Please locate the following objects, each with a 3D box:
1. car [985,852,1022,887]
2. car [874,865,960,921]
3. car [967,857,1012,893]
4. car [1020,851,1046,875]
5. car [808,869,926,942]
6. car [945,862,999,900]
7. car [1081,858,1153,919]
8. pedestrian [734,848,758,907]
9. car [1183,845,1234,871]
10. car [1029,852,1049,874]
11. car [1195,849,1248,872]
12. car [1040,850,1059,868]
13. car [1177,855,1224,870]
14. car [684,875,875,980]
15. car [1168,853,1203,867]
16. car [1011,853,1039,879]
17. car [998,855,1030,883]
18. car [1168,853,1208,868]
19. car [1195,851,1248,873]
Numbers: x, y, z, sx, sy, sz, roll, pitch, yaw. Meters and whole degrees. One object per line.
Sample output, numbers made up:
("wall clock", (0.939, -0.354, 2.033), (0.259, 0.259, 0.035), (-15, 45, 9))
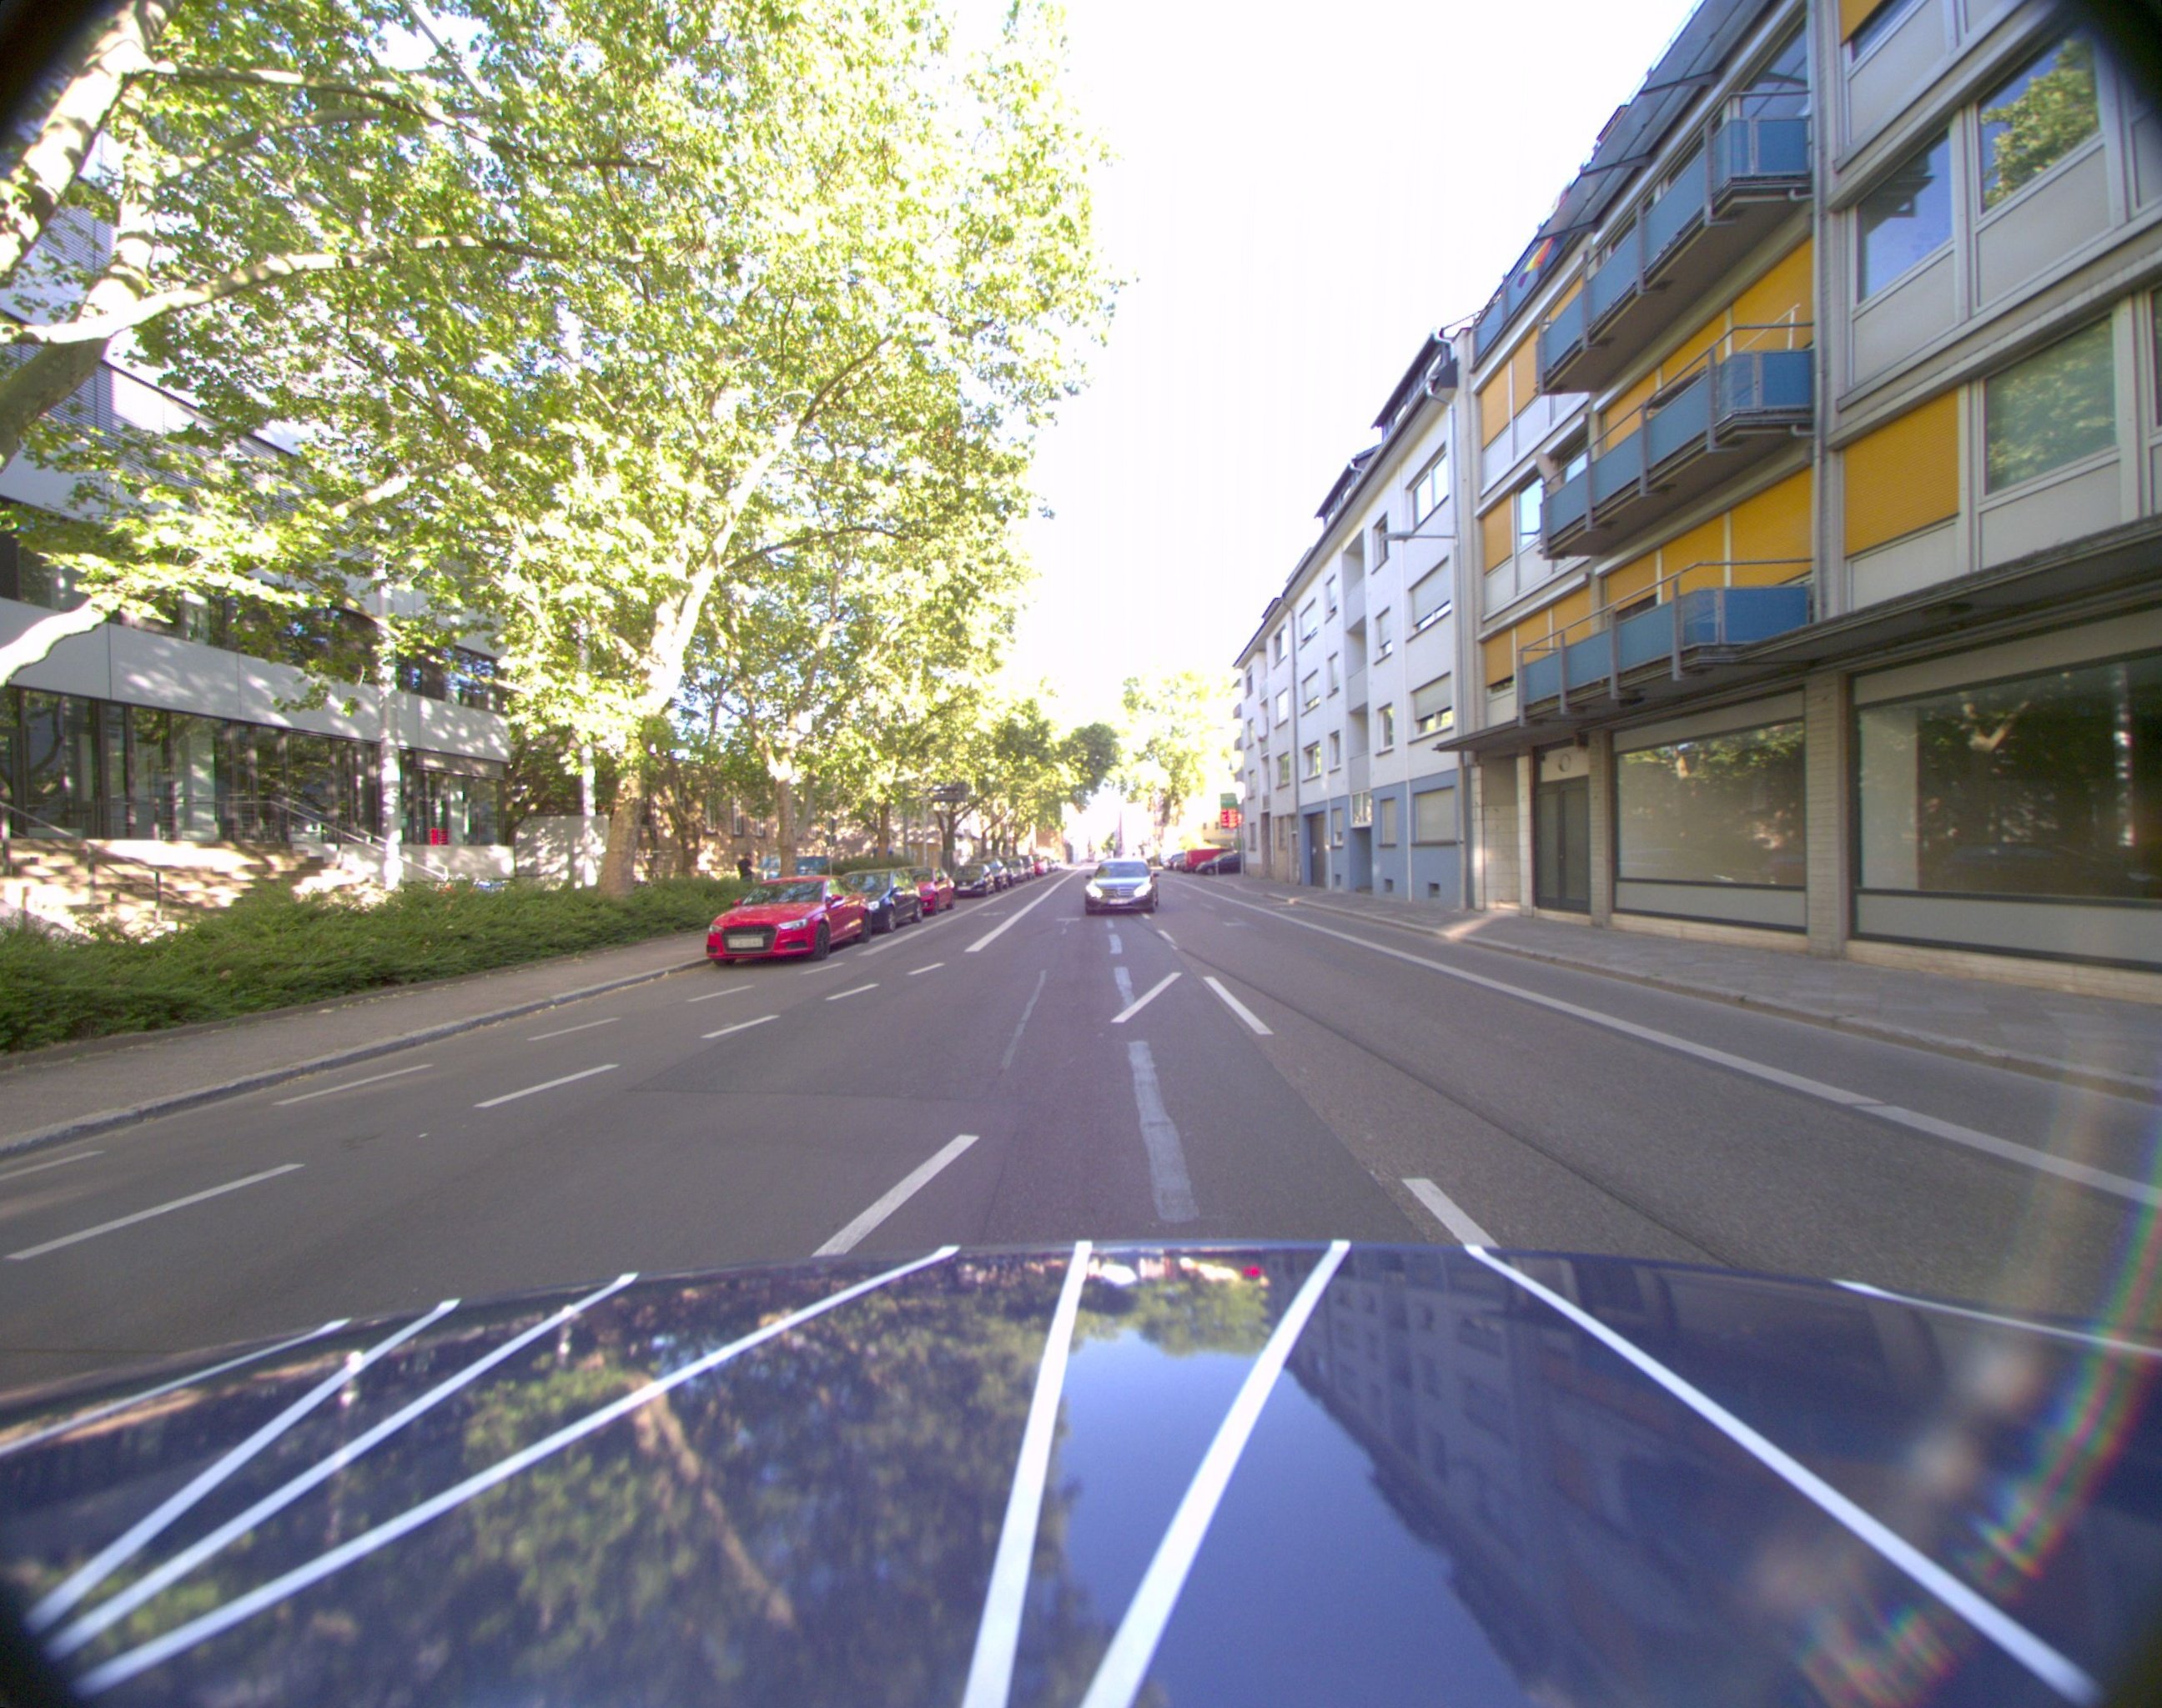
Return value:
("car", (-4.453, 0.854, 44.233), (1.634, 1.781, 4.576), (-2, 1, 0))
("car", (-5.011, 1.134, 23.677), (1.692, 1.441, 3.923), (-2, 1, 1))
("car", (-4.516, 0.993, 38.100), (1.634, 1.569, 4.231), (-2, 1, 0))
("car", (-4.168, 0.722, 66.084), (1.915, 1.940, 3.769), (-2, 1, 0))
("car", (-5.048, 1.164, 18.404), (1.669, 1.410, 3.697), (-2, 1, 1))
("car", (-4.691, 1.112, 33.229), (1.692, 1.414, 3.923), (-2, 1, 0))
("car", (0.956, 0.891, 21.421), (1.752, 1.423, 4.266), (-2, 0, 1))
("pedestrian", (-11.630, 0.803, 26.393), (0.552, 2.002, 0.562), (-2, 1, -11))
("car", (10.063, 0.314, 59.935), (3.688, 1.897, 1.490), (-2, -1, -1))
("car", (-3.901, 0.806, 70.996), (1.599, 1.835, 3.769), (-2, 1, 0))
("car", (10.536, 0.478, 57.090), (3.687, 1.503, 1.490), (-2, 1, 2))
("car", (-3.810, 0.587, 91.838), (1.998, 2.002, 4.000), (-2, 0, 1))
("car", (9.814, 0.686, 62.581), (3.687, 1.122, 1.345), (-2, 1, 2))
("car", (-5.159, 1.181, 13.650), (1.794, 1.384, 3.999), (-2, 1, 0))
("car", (10.325, 0.574, 75.459), (3.271, 1.238, 1.345), (-2, 1, 2))
("car", (-4.035, 0.815, 55.232), (1.634, 1.725, 3.769), (-2, 1, 0))
("car", (-4.351, 0.940, 50.105), (1.634, 1.604, 4.576), (-2, 1, 0))
("car", (10.270, 0.619, 73.022), (3.687, 1.238, 1.345), (-2, 1, 2))
("car", (10.093, 0.583, 54.722), (3.508, 1.380, 1.490), (-2, 1, 2))
